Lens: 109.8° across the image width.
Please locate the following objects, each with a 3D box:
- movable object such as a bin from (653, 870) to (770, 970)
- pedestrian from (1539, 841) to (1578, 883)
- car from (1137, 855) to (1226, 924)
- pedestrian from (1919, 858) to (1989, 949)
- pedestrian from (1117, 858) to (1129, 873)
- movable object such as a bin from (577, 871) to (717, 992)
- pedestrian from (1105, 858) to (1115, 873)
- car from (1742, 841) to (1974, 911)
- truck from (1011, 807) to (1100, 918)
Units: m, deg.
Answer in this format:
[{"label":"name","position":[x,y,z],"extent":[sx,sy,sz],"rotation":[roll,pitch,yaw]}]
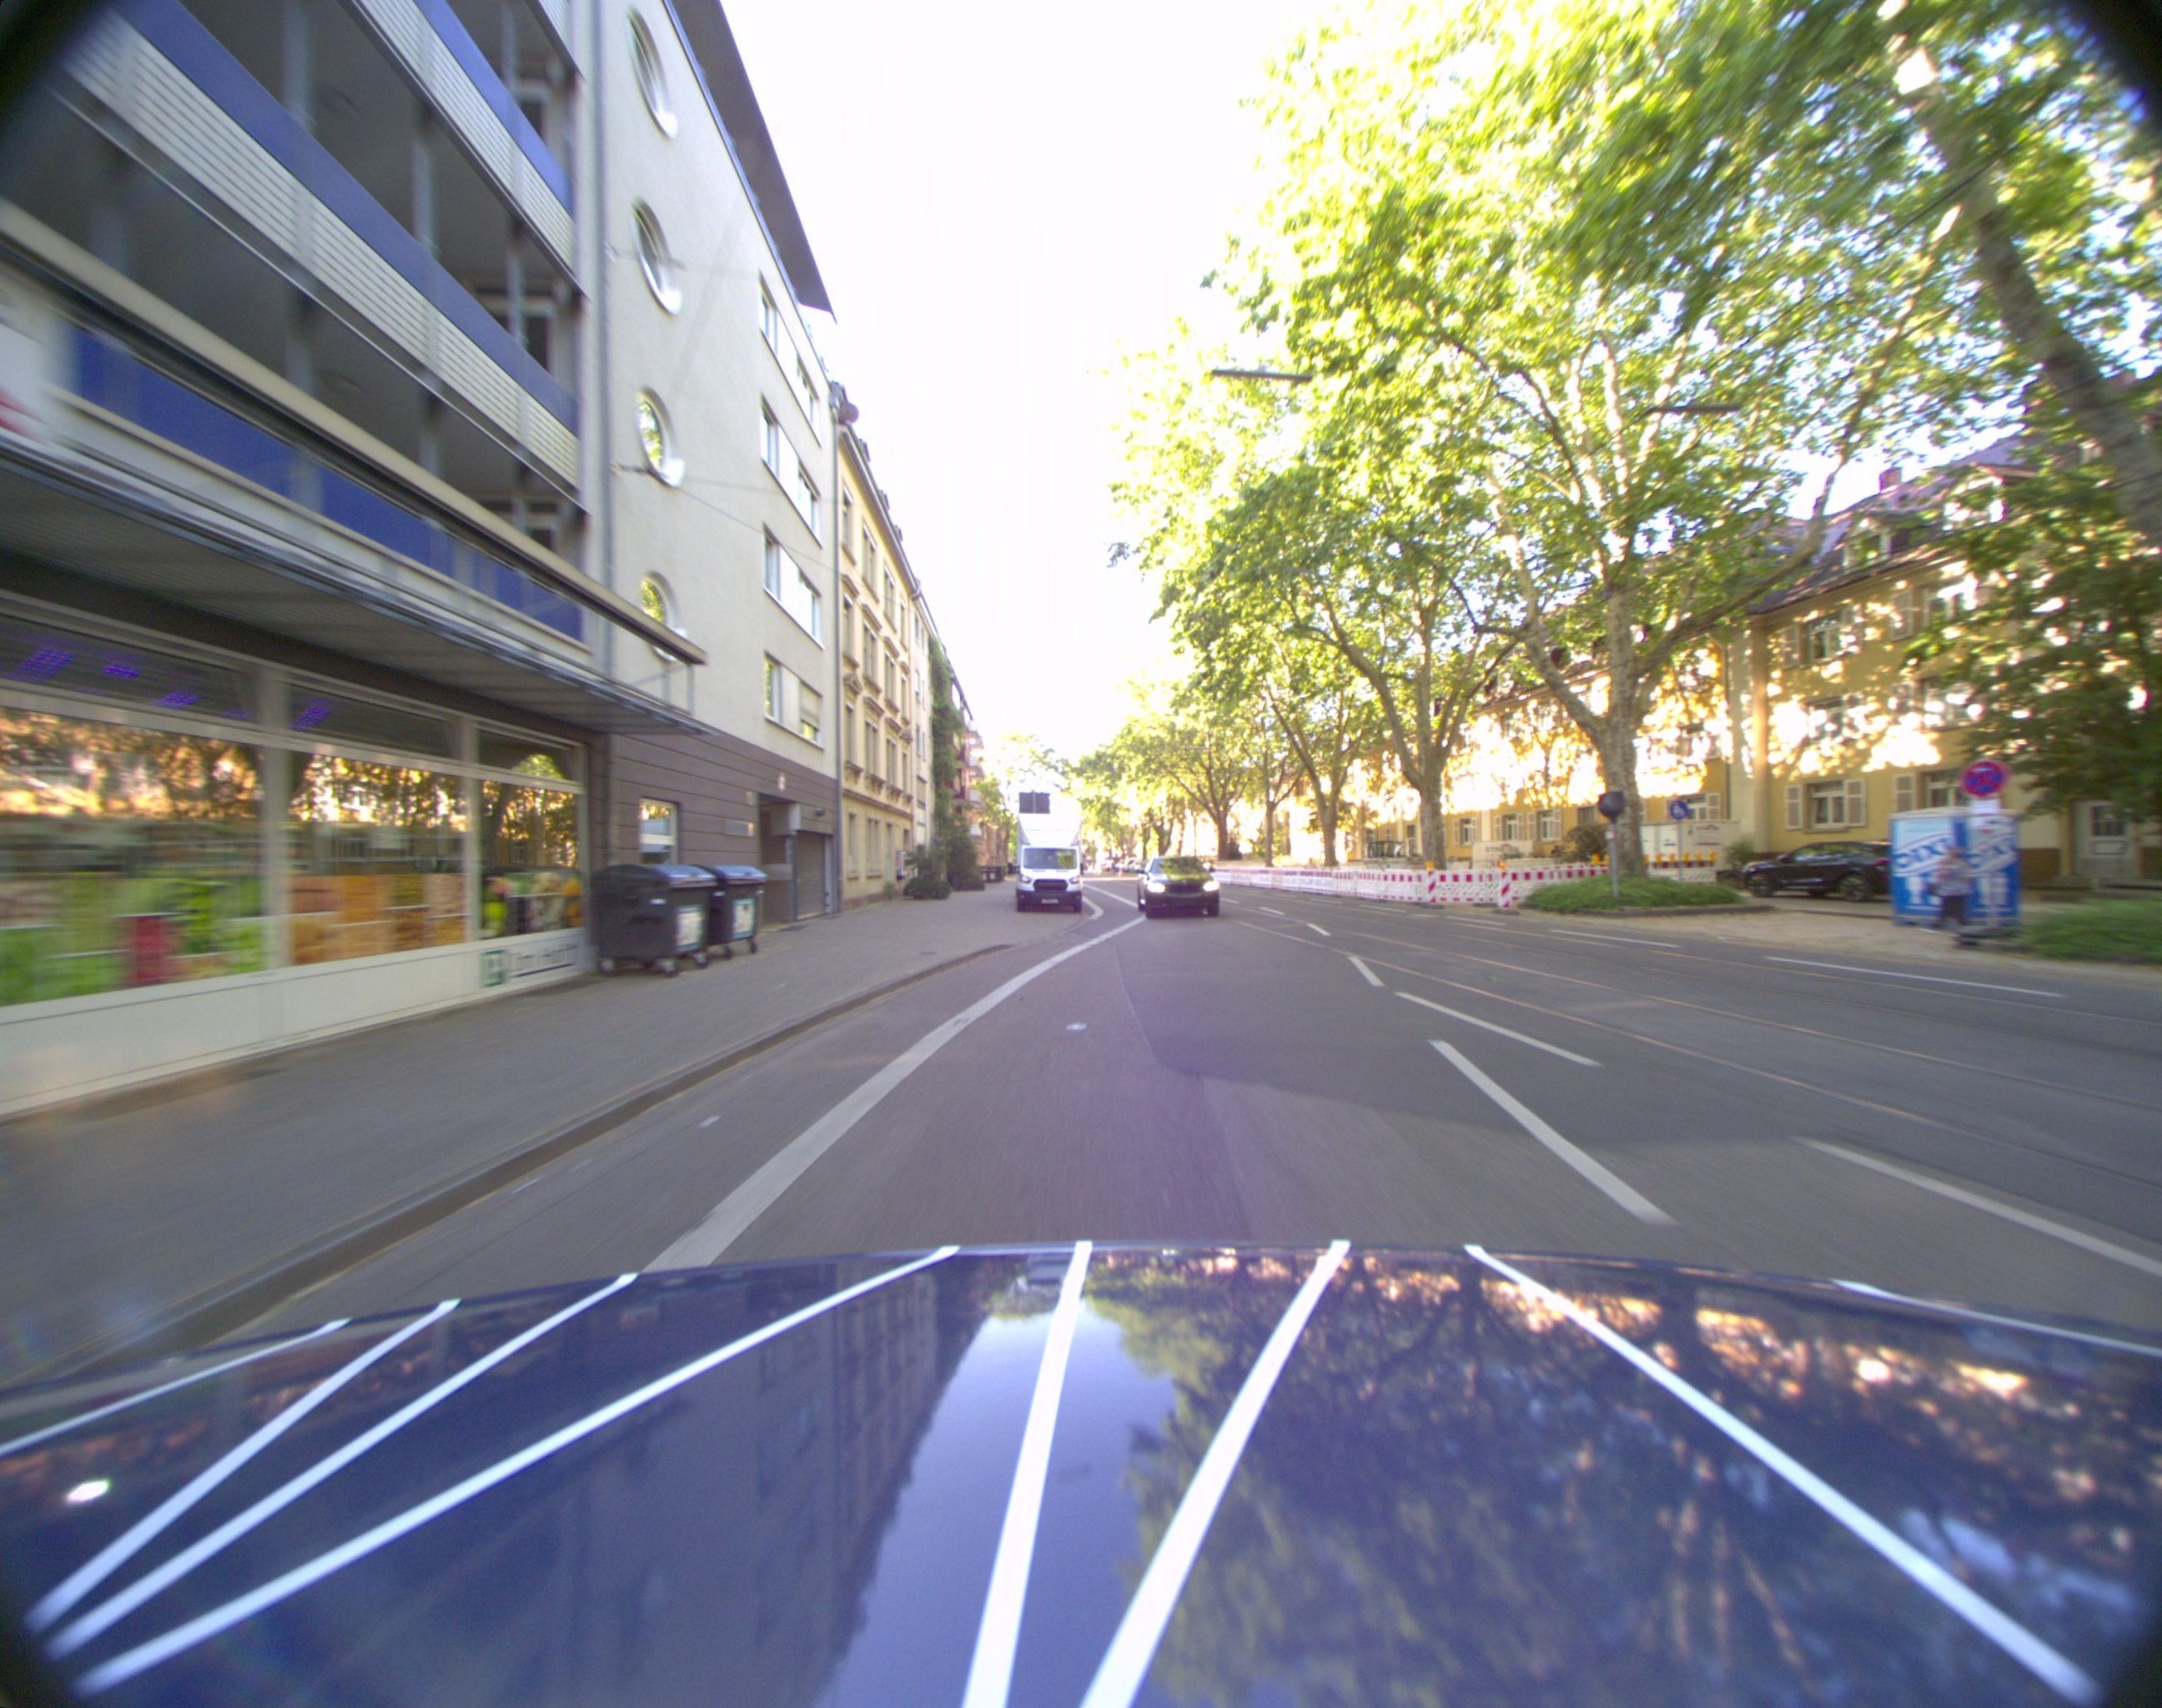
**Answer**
[{"label":"movable object such as a bin","position":[-5.650,0.974,11.725],"extent":[1.122,1.437,1.306],"rotation":[0,0,3]},{"label":"pedestrian","position":[23.562,0.394,37.517],"extent":[1.098,2.002,1.234],"rotation":[-1,0,-6]},{"label":"car","position":[2.752,0.927,21.855],"extent":[1.943,1.733,4.475],"rotation":[-2,0,0]},{"label":"pedestrian","position":[15.568,0.864,13.557],"extent":[0.597,1.563,0.715],"rotation":[-1,0,-30]},{"label":"pedestrian","position":[4.362,1.177,79.344],"extent":[0.889,1.533,0.946],"rotation":[-1,0,-22]},{"label":"movable object such as a bin","position":[-5.556,0.950,9.831],"extent":[1.069,1.438,1.296],"rotation":[0,0,-2]},{"label":"pedestrian","position":[3.111,1.246,80.634],"extent":[0.749,1.533,0.865],"rotation":[-1,0,-22]},{"label":"car","position":[20.431,0.533,20.293],"extent":[1.830,1.592,4.221],"rotation":[-2,0,0]},{"label":"truck","position":[-1.146,0.277,26.701],"extent":[2.385,3.165,8.524],"rotation":[3,0,-6]}]
